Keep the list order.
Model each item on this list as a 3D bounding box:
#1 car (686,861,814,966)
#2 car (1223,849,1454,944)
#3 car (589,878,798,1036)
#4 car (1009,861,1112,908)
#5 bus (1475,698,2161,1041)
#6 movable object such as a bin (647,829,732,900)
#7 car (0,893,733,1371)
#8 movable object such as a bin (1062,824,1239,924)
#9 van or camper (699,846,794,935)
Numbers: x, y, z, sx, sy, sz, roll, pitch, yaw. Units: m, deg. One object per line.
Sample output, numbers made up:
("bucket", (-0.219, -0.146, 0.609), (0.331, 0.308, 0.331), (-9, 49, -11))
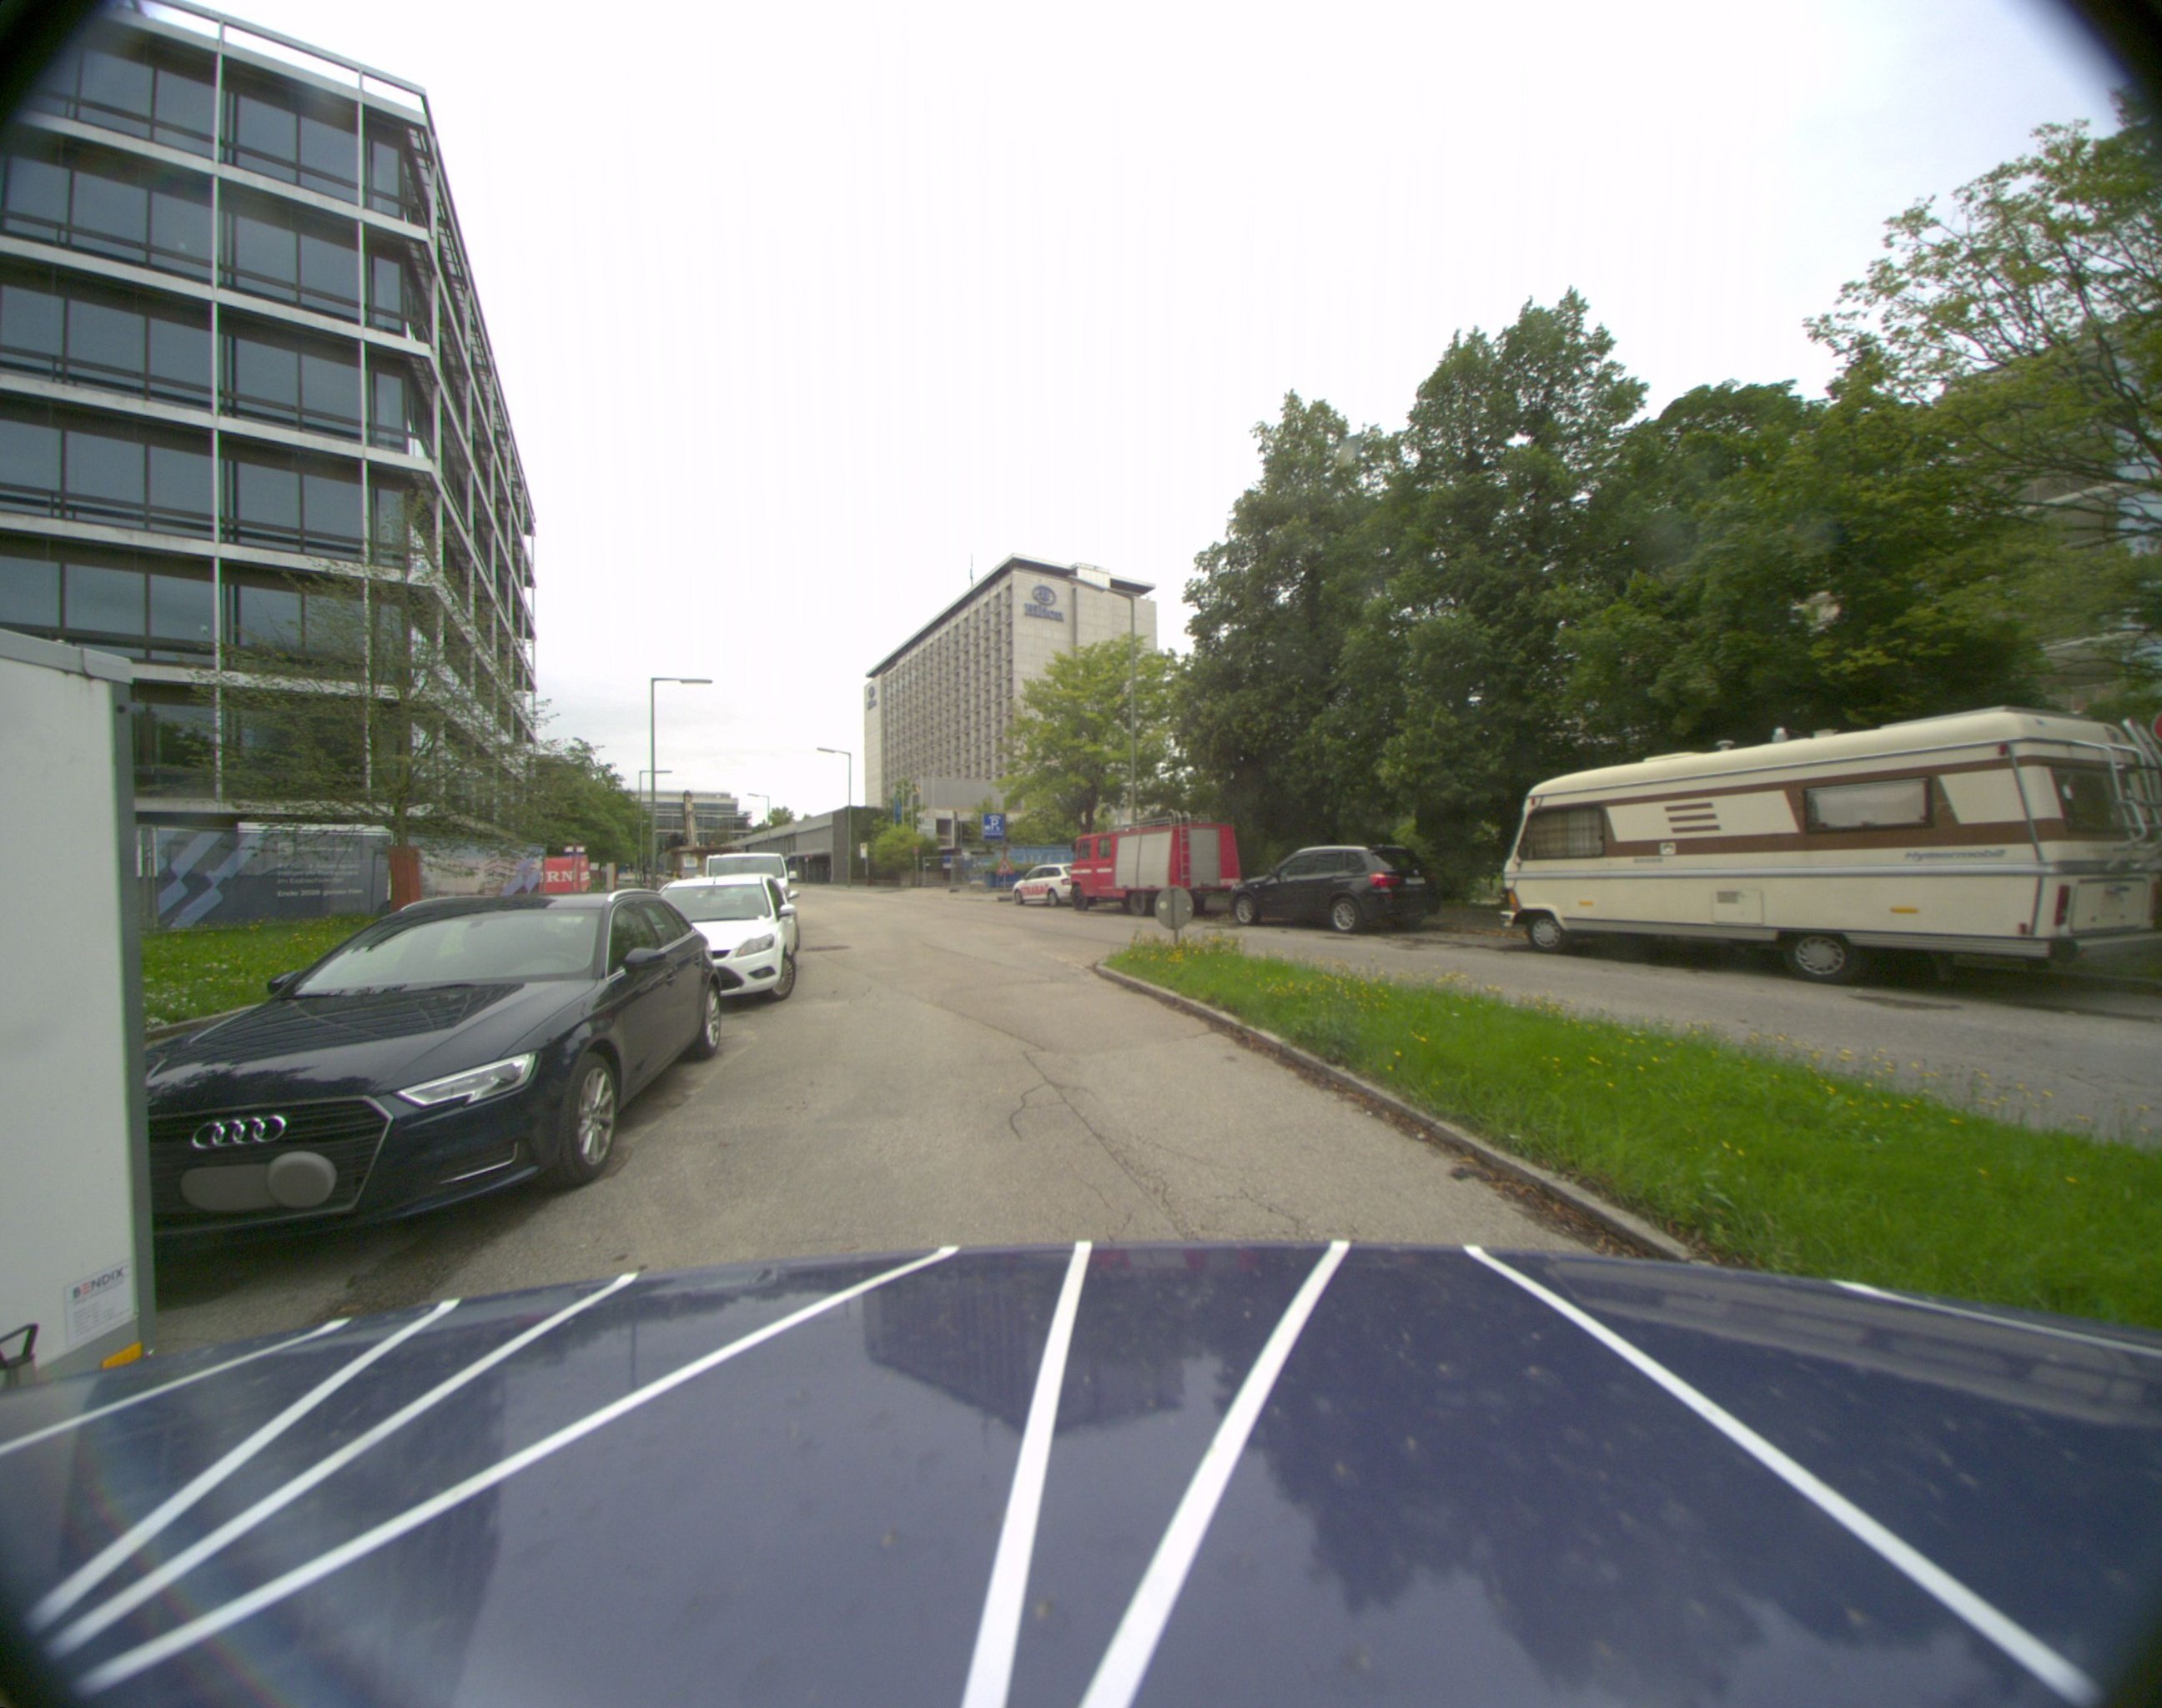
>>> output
("car", (-6.589, 1.029, 15.162), (2.002, 1.718, 4.441), (-1, 0, -24))
("car", (5.047, 0.775, 15.565), (1.784, 1.639, 4.450), (-1, -1, -28))
("car", (-4.729, 1.102, 9.886), (1.774, 1.477, 4.214), (-1, 0, -18))
("car", (-0.846, 1.062, 27.601), (1.785, 1.540, 4.247), (-1, -1, -33))
("bus", (7.983, 0.153, 9.045), (2.325, 2.683, 5.724), (-1, 0, -21))
("movable object such as a bin", (-22.923, 0.561, 44.157), (3.257, 3.695, 8.984), (-1, 0, -34))
("car", (-3.636, 1.039, 4.743), (1.879, 1.428, 4.323), (0, -1, -14))
("movable object such as a bin", (1.720, 0.533, 21.814), (2.114, 2.444, 6.174), (-1, -1, -26))
("van or camper", (-8.941, 0.845, 20.174), (2.003, 2.002, 5.365), (-1, 0, -25))
